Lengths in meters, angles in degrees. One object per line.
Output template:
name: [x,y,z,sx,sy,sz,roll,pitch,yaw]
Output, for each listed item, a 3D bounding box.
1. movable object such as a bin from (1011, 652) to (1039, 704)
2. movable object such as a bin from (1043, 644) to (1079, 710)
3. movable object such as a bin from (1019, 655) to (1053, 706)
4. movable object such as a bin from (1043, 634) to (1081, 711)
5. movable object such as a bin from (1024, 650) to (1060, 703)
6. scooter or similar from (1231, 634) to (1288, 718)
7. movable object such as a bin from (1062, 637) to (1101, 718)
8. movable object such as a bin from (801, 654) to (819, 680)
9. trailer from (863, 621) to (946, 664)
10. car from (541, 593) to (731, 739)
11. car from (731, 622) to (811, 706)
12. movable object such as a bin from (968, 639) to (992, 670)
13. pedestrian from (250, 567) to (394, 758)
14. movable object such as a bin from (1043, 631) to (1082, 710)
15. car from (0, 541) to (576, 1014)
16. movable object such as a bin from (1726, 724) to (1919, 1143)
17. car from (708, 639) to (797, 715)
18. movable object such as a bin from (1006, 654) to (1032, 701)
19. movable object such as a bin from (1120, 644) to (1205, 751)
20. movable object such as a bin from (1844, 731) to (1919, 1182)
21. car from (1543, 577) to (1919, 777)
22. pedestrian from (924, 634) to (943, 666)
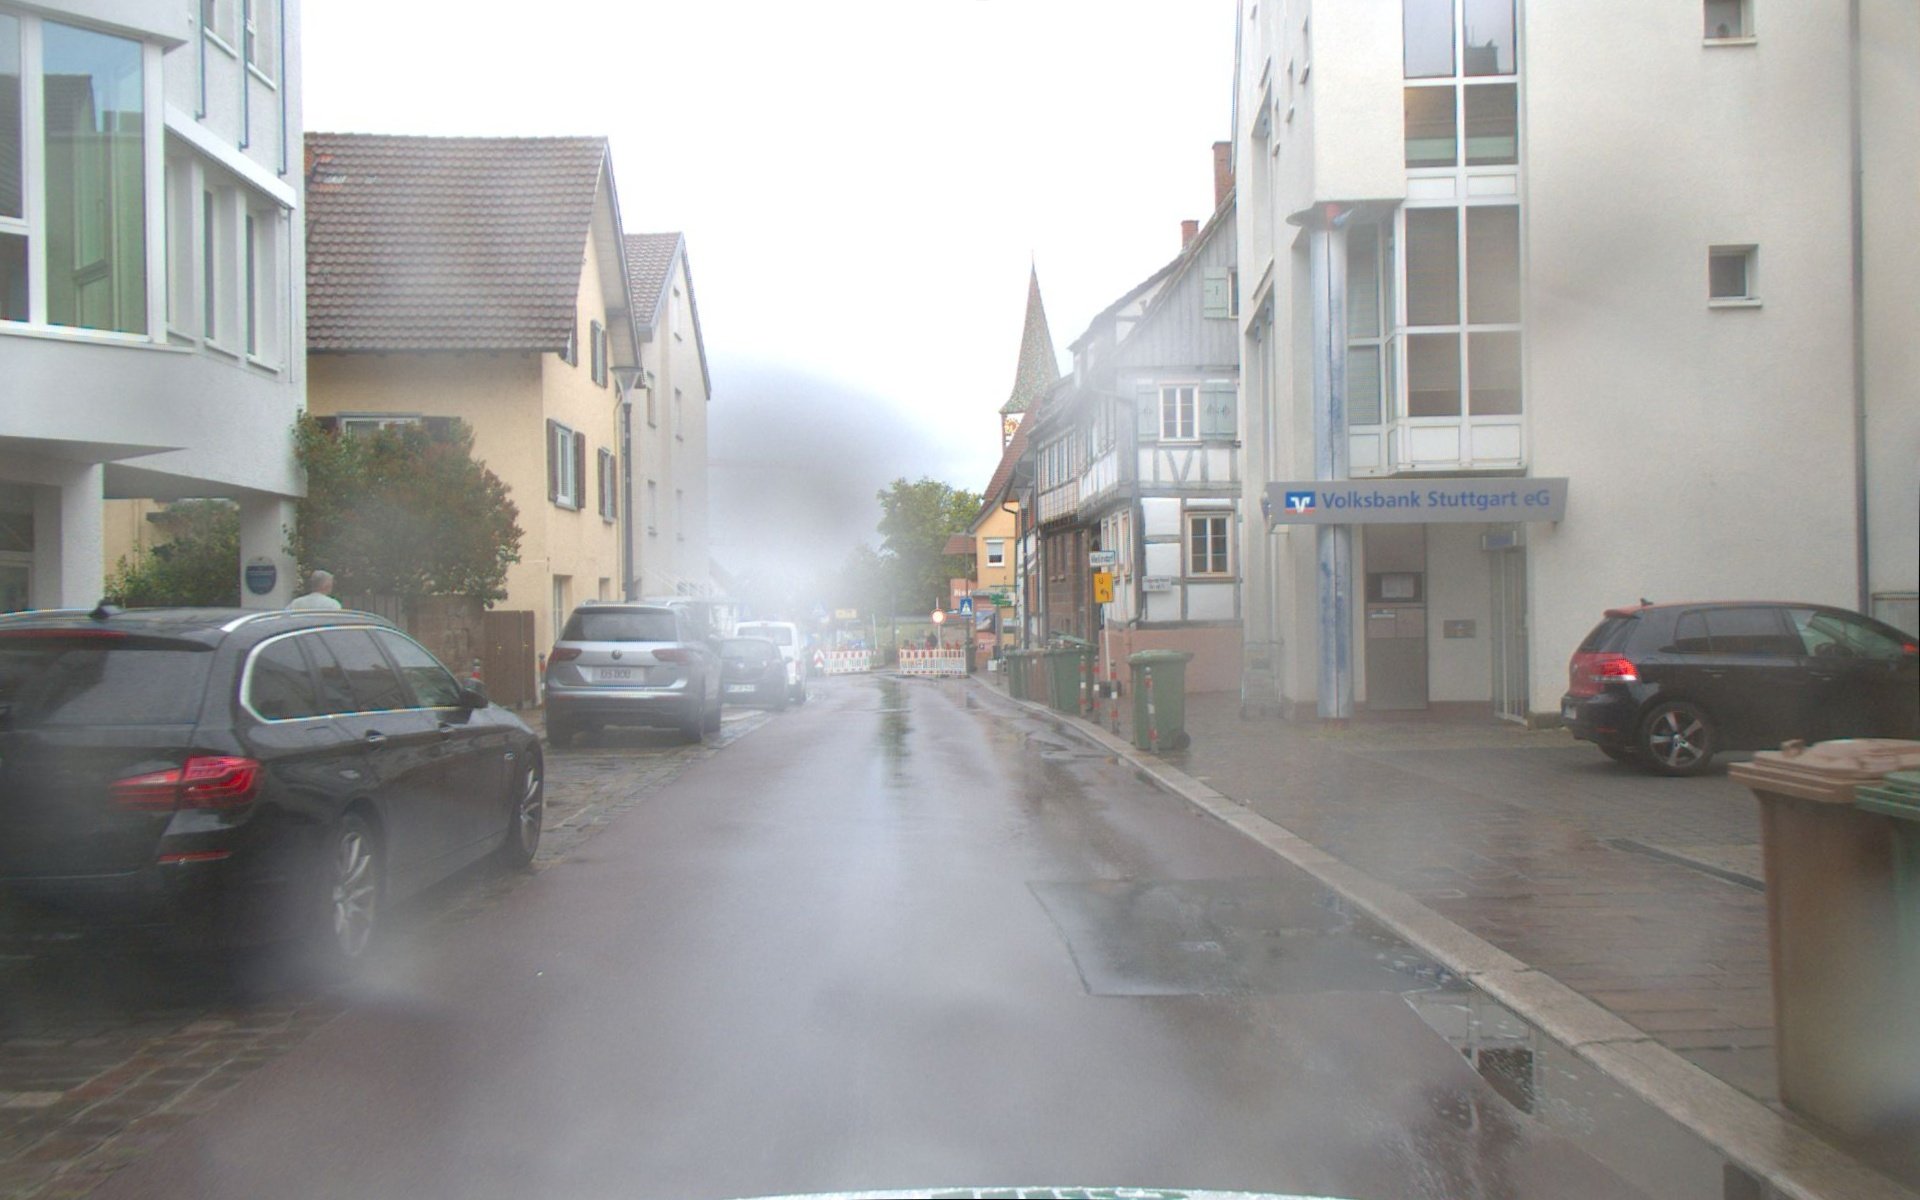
movable object such as a bin: [1.502,1.795,38.131,0.624,1.167,0.604,-1,-2,3]
movable object such as a bin: [1.802,1.378,29.572,0.603,1.151,0.632,-1,-2,3]
movable object such as a bin: [1.694,1.793,36.777,0.656,1.100,0.587,-2,-3,-4]
movable object such as a bin: [1.777,1.267,28.817,0.624,1.313,0.632,-1,-2,3]
movable object such as a bin: [1.756,1.642,35.463,0.665,1.116,0.649,0,-2,-6]
scooter or similar: [4.298,1.091,23.773,0.651,1.166,1.446,-1,-2,5]
movable object such as a bin: [2.006,1.281,27.351,0.624,1.313,0.632,-1,-2,3]
movable object such as a bin: [-6.337,2.837,69.908,0.533,1.051,0.533,-5,-4,31]
trailer: [-3.945,3.016,116.925,5.671,2.999,1.996,0,-2,-7]
car: [-3.892,0.818,20.519,1.744,1.596,4.404,-1,-2,-4]
car: [-4.450,1.533,39.435,1.689,1.857,4.423,-1,-2,-4]
movable object such as a bin: [1.047,2.838,86.546,1.043,1.539,1.243,-4,-2,5]
pedestrian: [-6.336,0.604,16.490,1.014,1.838,1.116,0,-1,-2]
movable object such as a bin: [1.741,1.192,28.116,0.624,1.313,0.632,-1,-2,3]
car: [-3.257,0.619,7.803,1.793,1.525,4.762,-2,-1,-1]
movable object such as a bin: [2.769,0.936,4.858,0.714,1.100,0.646,-1,-1,-1]
car: [-4.165,1.550,33.595,1.648,1.413,3.820,-1,-2,-5]
movable object such as a bin: [1.455,1.916,41.025,0.597,1.147,0.599,-1,-2,-2]
movable object such as a bin: [2.246,1.075,18.436,0.788,1.151,0.862,-1,-2,-4]
movable object such as a bin: [2.760,0.905,4.184,0.695,1.114,0.614,-1,-1,-1]
car: [7.518,0.644,14.955,3.902,1.540,1.913,-3,1,9]
pedestrian: [-1.490,2.811,93.533,0.971,1.790,0.850,0,-2,-8]
